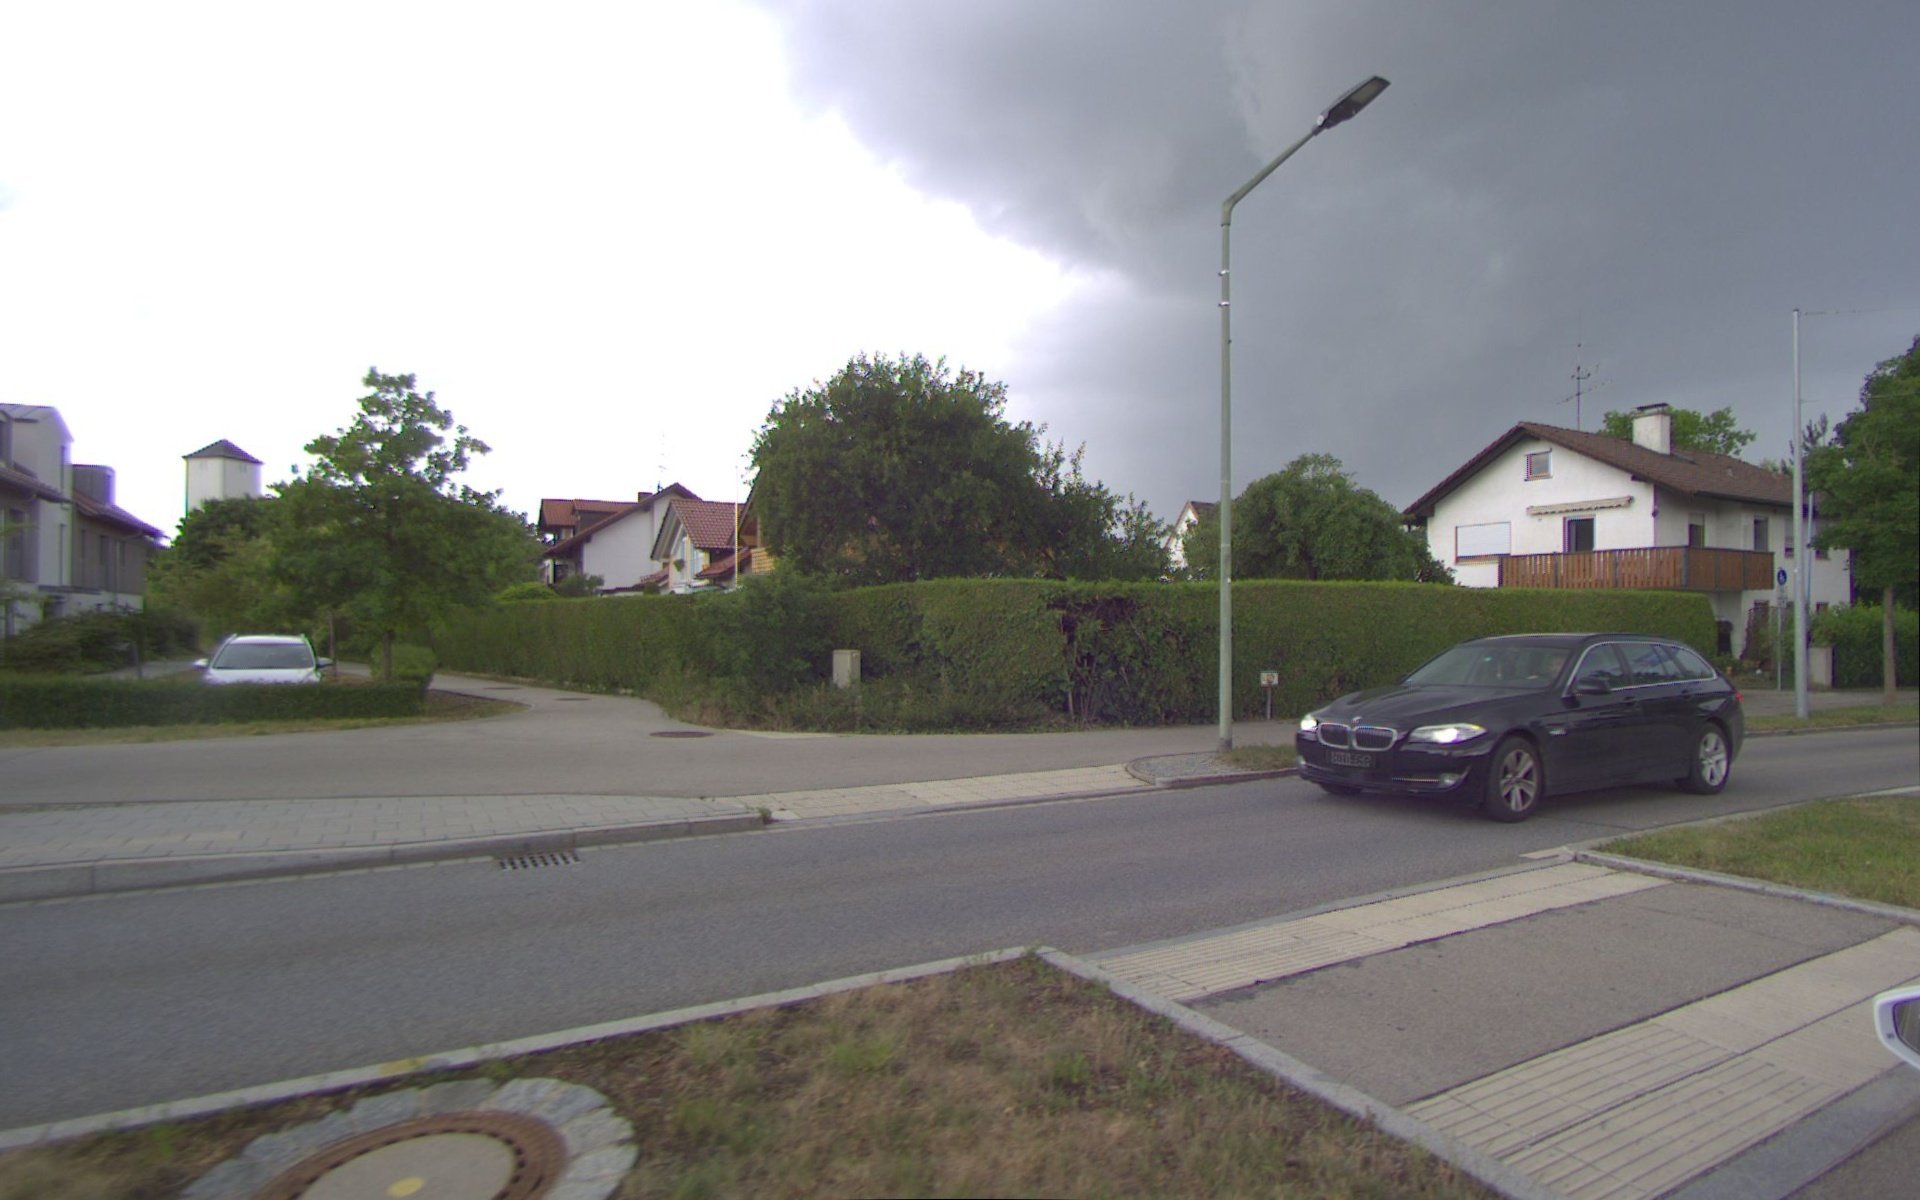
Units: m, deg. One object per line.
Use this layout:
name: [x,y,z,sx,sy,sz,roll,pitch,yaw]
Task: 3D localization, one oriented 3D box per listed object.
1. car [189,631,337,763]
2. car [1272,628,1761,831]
car: [-12.491,1.620,18.243,1.978,2.040,3.965,1,-1,-32]
car: [5.209,1.014,9.304,4.441,1.473,1.912,1,-1,-29]
